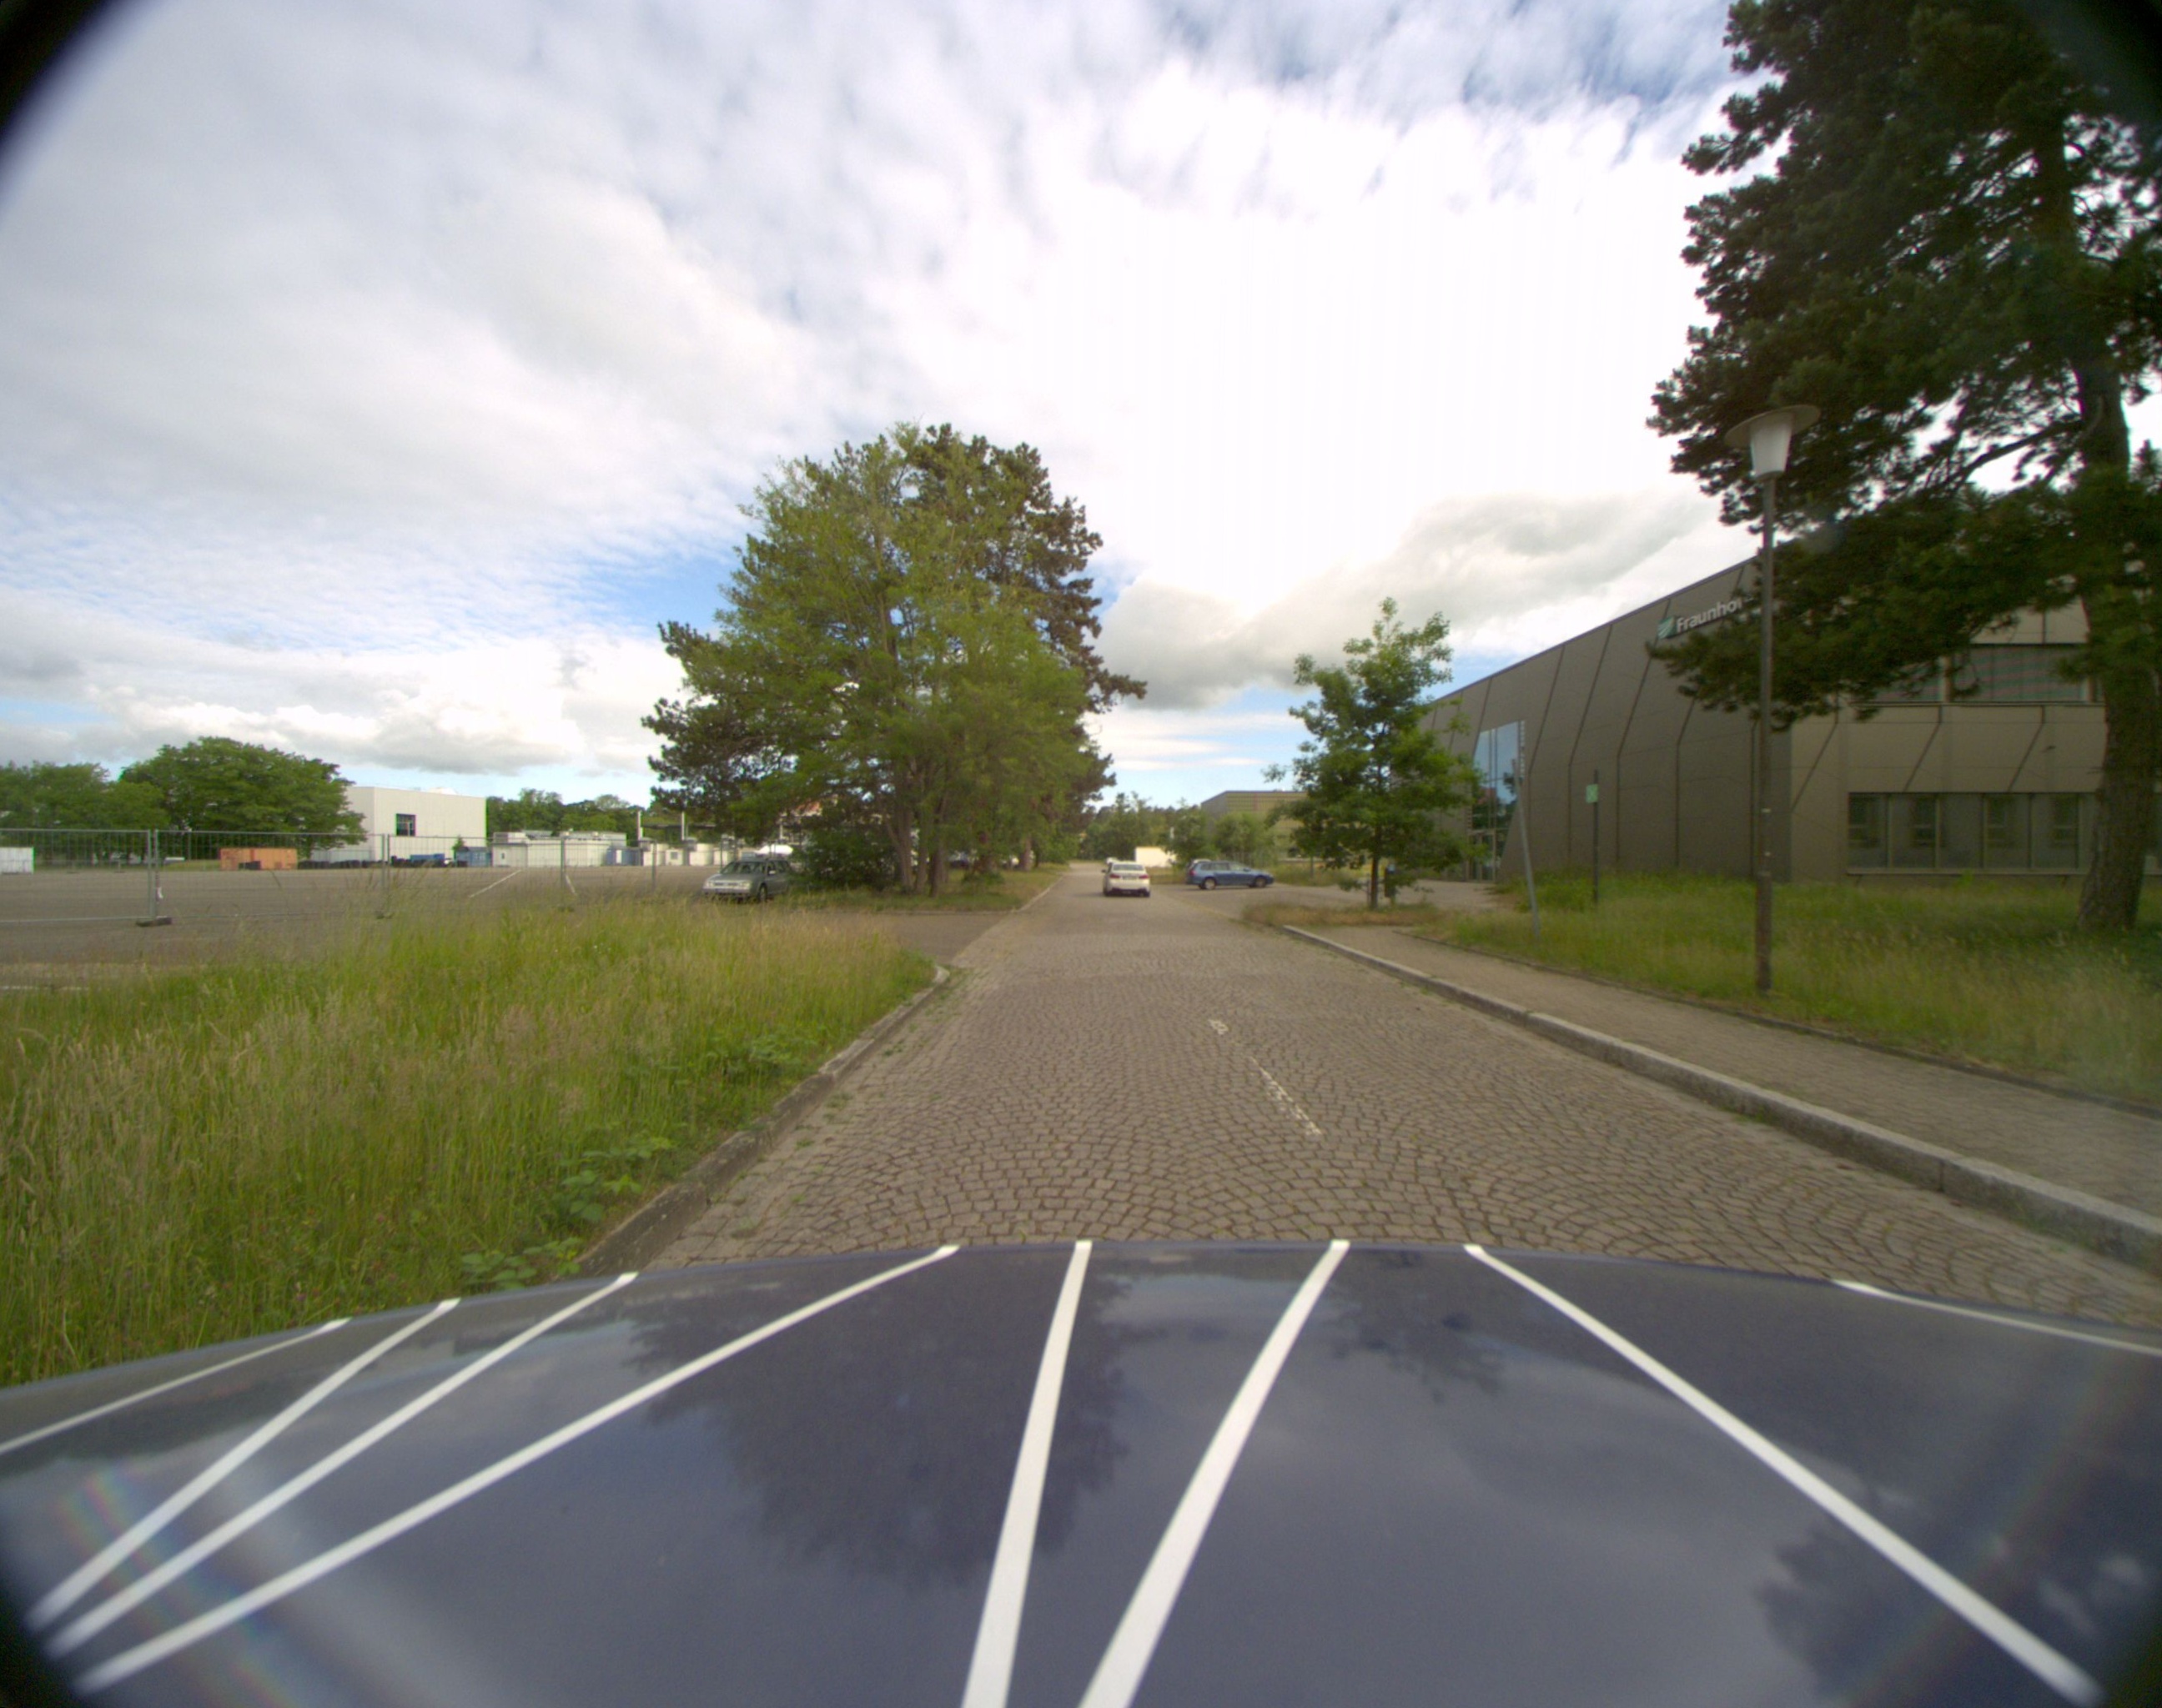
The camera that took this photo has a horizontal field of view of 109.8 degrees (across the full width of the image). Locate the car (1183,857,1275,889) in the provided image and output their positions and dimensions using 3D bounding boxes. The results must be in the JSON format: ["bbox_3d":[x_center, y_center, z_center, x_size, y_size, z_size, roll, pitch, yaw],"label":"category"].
[{"bbox_3d":[7.717,0.984,39.770,4.427,1.461,1.633,-2,1,-2],"label":"car"}]

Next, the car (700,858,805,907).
[{"bbox_3d":[-10.840,0.866,25.417,1.678,1.442,4.488,0,0,-2],"label":"car"}]

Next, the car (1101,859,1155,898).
[{"bbox_3d":[1.908,0.975,32.035,1.778,1.430,4.217,3,0,-2],"label":"car"}]

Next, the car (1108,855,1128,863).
[{"bbox_3d":[7.807,1.041,159.580,4.062,1.767,1.792,-1,1,0],"label":"car"}]

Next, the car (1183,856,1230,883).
[{"bbox_3d":[7.778,0.932,47.139,2.584,1.521,1.500,-2,1,-1],"label":"car"}]
